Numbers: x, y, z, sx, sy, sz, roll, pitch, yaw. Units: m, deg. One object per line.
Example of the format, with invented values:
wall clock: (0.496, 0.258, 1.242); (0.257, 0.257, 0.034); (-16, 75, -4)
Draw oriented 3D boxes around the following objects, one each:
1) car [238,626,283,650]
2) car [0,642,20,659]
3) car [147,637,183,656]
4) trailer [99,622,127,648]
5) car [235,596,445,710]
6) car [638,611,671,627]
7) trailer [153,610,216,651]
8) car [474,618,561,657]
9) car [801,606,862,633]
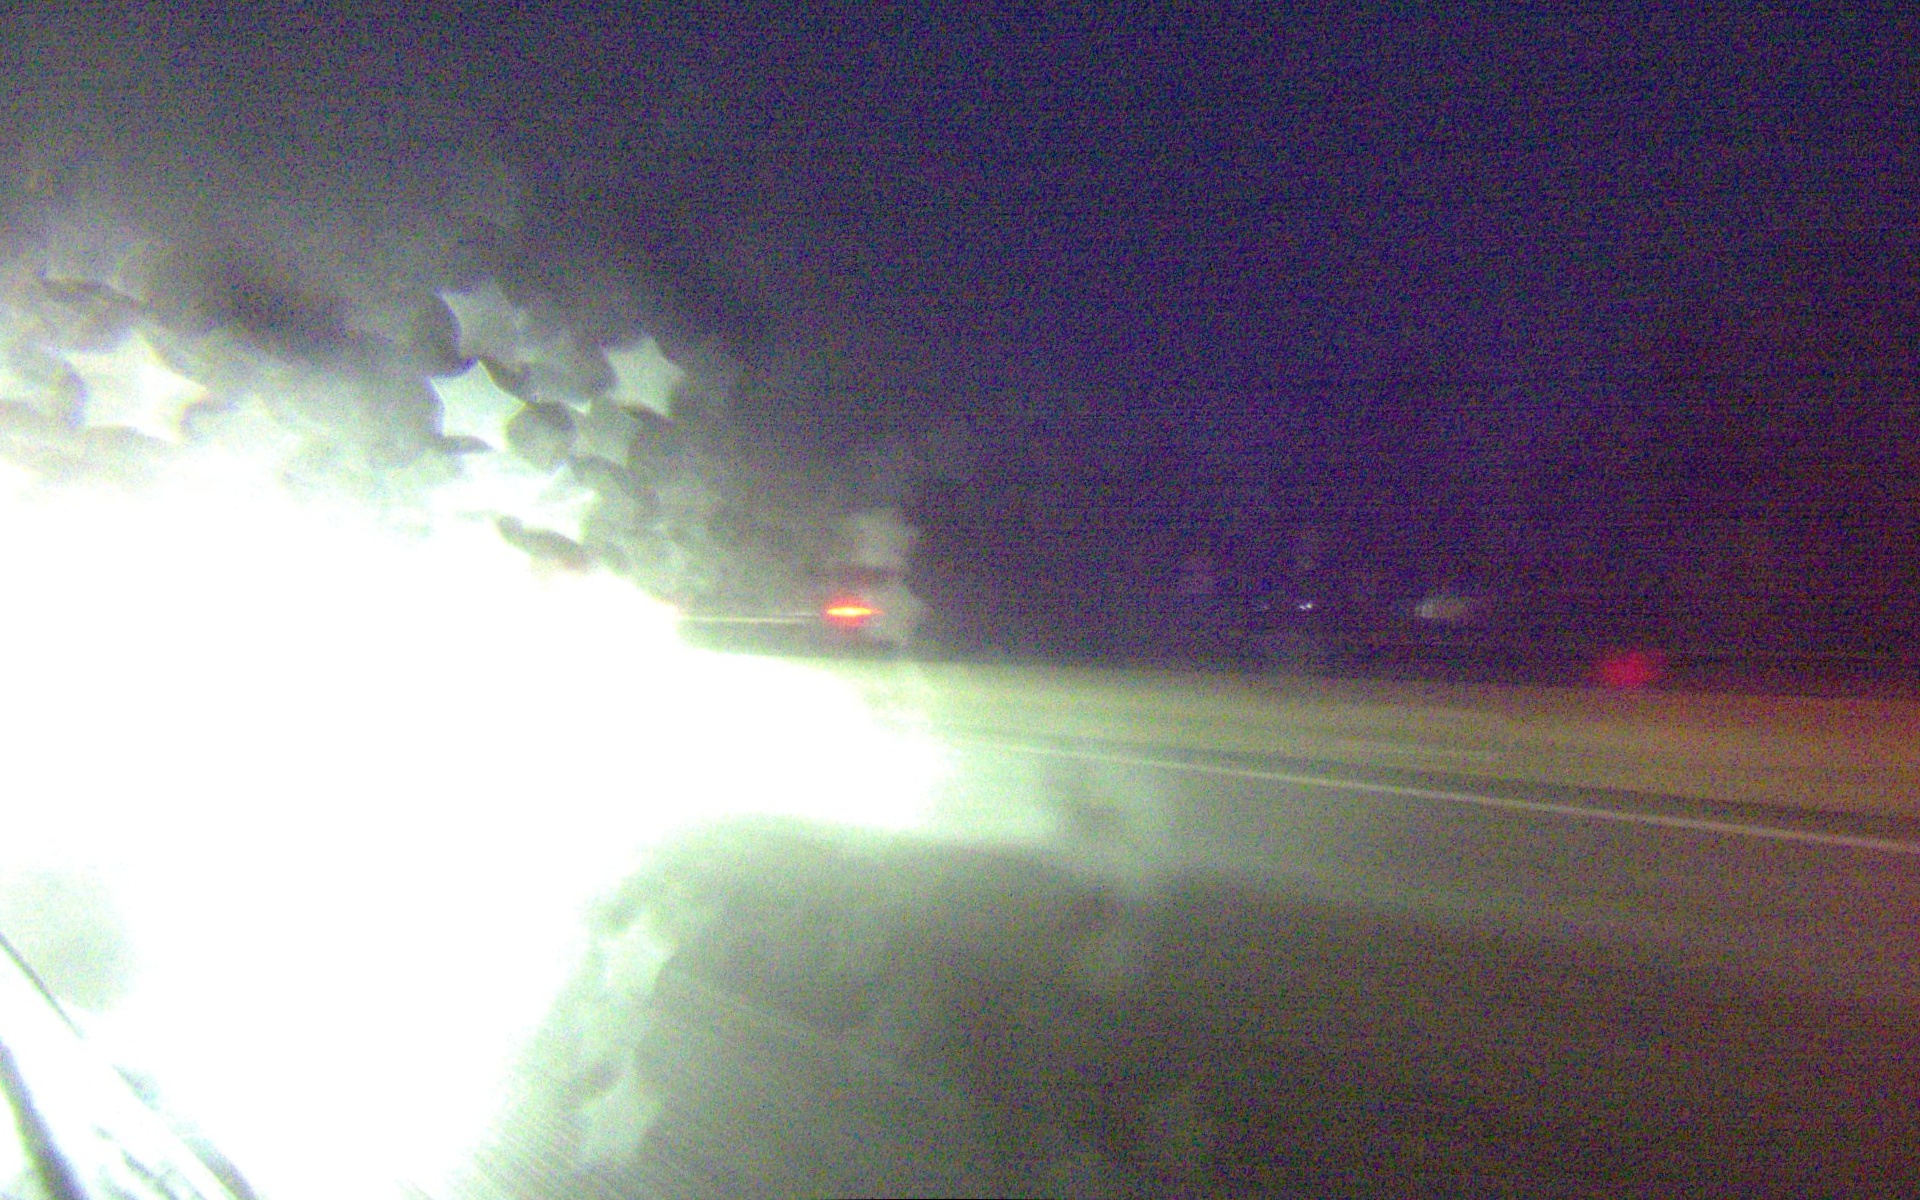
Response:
car: (-49.723, 2.703, 71.914); (4.292, 1.538, 1.713); (0, -3, 43)
car: (-75.837, 3.975, 80.035); (3.989, 1.304, 1.689); (-3, -5, 41)
car: (-70.989, 4.128, 90.381); (4.292, 1.538, 1.819); (0, -3, 43)
trailer: (-162.006, 6.683, 193.556); (13.922, 4.578, 2.520); (0, -3, 44)
car: (-12.127, 0.901, 19.608); (5.556, 1.898, 2.113); (0, -1, 44)
car: (-27.653, 1.717, 91.576); (1.747, 1.416, 3.247); (0, -1, -39)
trailer: (-83.533, 3.213, 108.871); (13.929, 4.029, 2.782); (0, -3, 43)
car: (-19.213, 1.603, 43.841); (4.292, 1.538, 1.819); (0, -3, 43)
car: (-8.907, 1.355, 69.821); (1.969, 1.785, 4.576); (0, -1, -41)
